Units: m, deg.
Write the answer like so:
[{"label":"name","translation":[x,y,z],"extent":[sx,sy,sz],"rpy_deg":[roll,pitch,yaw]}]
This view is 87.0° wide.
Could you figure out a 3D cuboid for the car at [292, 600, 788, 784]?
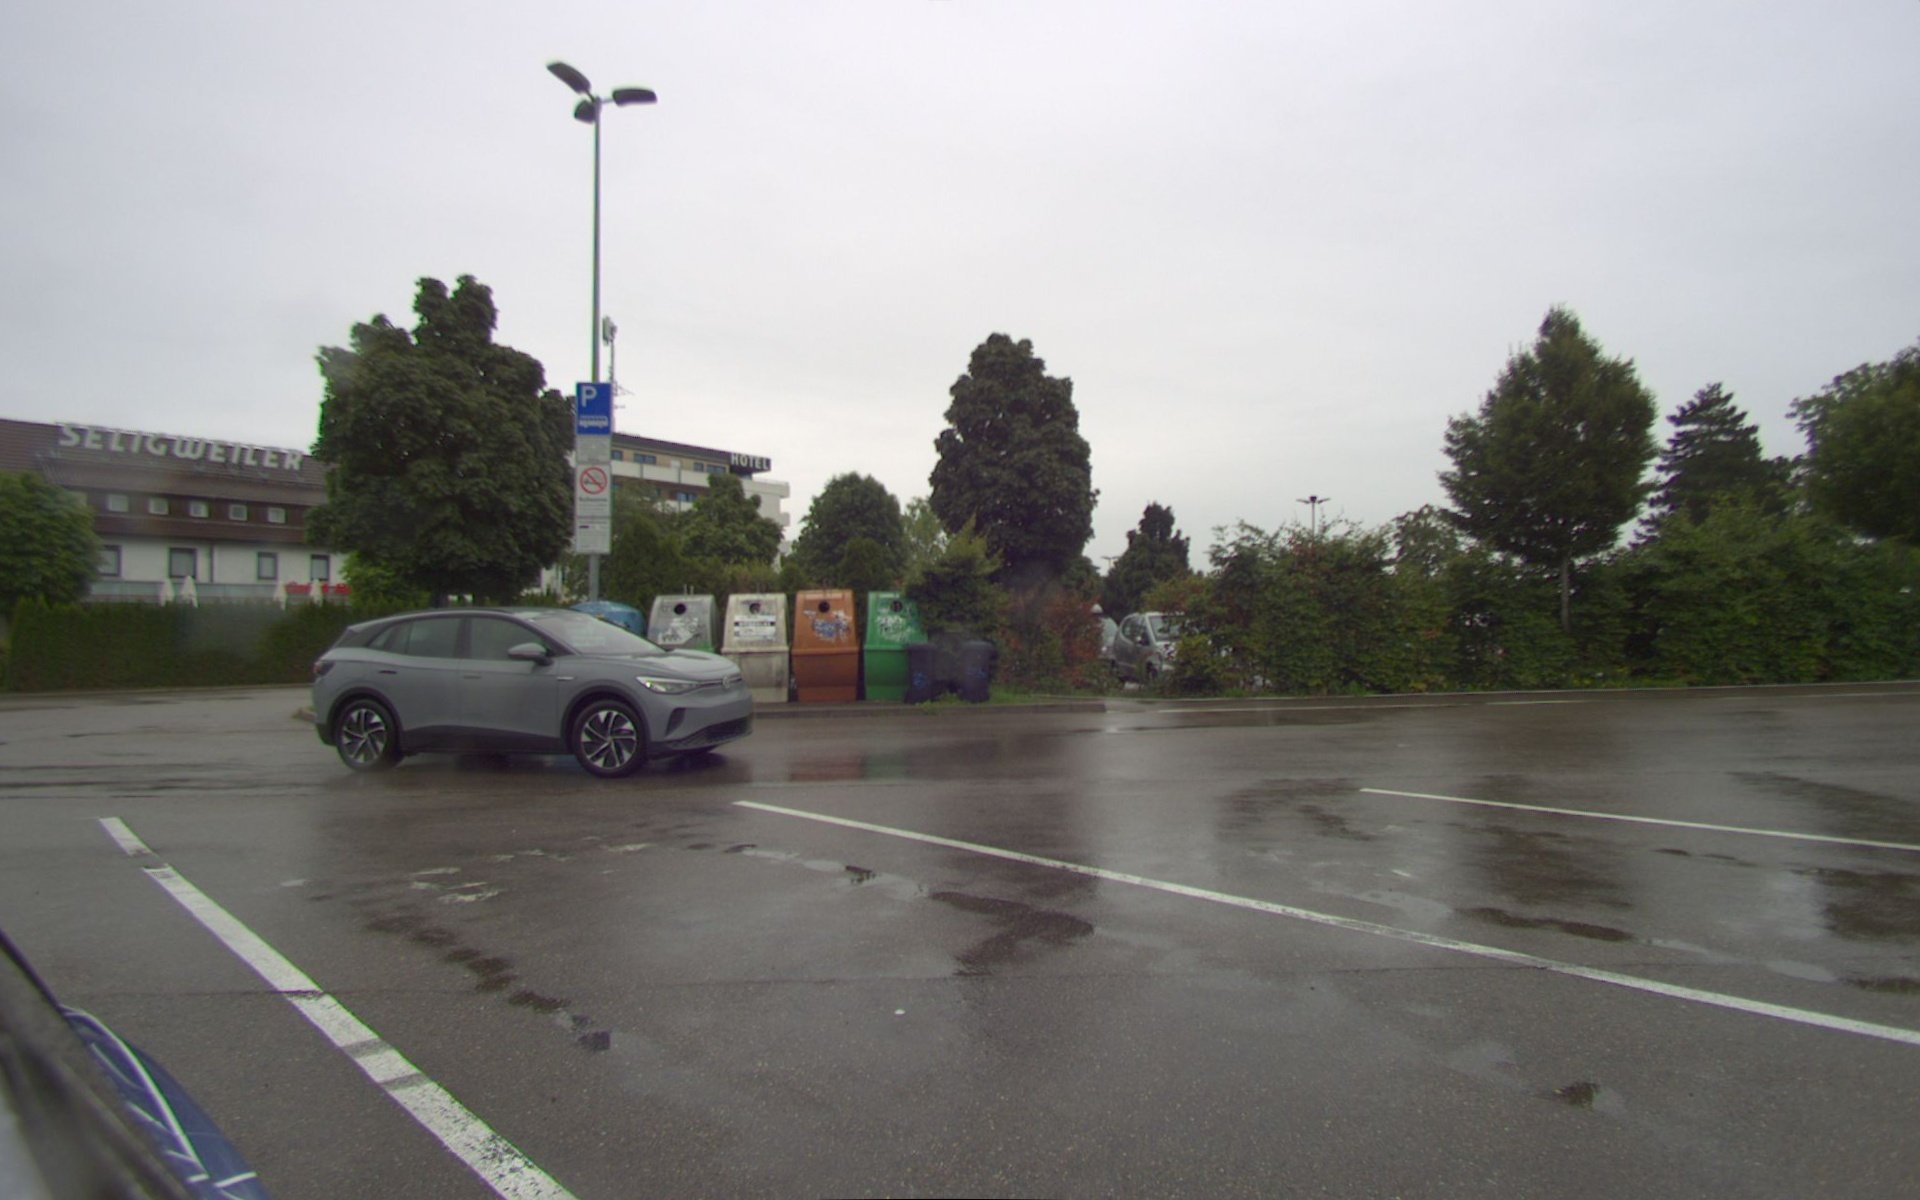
[{"label":"car","translation":[-4.233,0.861,10.364],"extent":[4.461,1.586,1.989],"rpy_deg":[-2,-1,17]}]

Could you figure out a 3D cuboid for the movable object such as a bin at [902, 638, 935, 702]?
[{"label":"movable object such as a bin","translation":[-0.612,1.031,15.009],"extent":[0.432,0.930,0.508],"rpy_deg":[-2,-2,1]}]

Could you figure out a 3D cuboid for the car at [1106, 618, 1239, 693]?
[{"label":"car","translation":[4.023,1.017,19.758],"extent":[1.782,1.278,3.647],"rpy_deg":[-1,-1,0]}]

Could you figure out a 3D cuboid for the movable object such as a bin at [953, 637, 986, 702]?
[{"label":"movable object such as a bin","translation":[0.139,1.003,14.741],"extent":[0.432,0.923,0.509],"rpy_deg":[-2,-2,-1]}]
